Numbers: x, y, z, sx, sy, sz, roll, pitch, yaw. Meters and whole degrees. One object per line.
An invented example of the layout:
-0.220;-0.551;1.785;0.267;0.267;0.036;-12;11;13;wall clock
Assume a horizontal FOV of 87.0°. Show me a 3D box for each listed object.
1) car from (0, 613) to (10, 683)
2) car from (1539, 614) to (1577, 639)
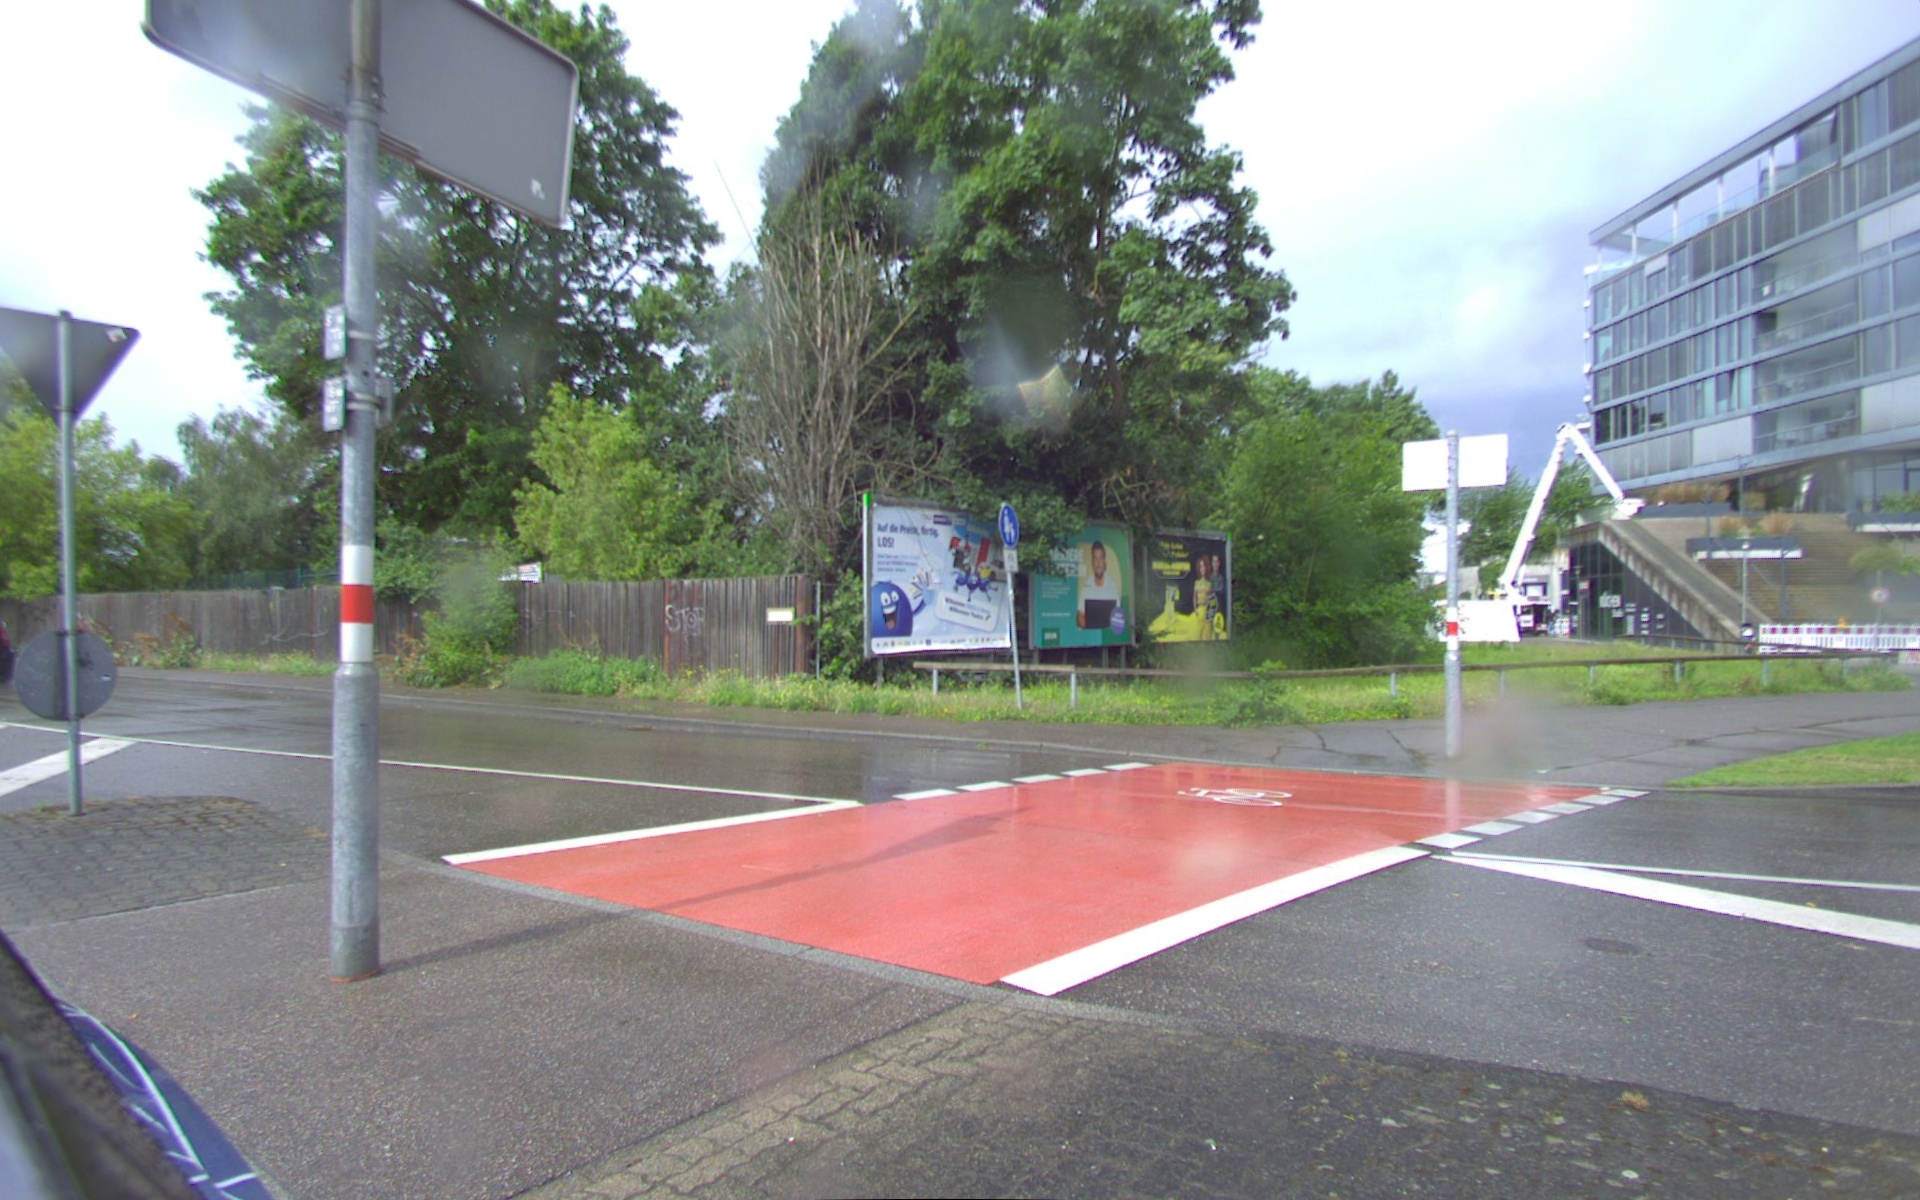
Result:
-22.846;1.073;22.571;3.447;1.545;1.615;-2;-3;33;car
41.545;1.881;70.364;1.856;1.685;4.431;-1;-3;26;car
